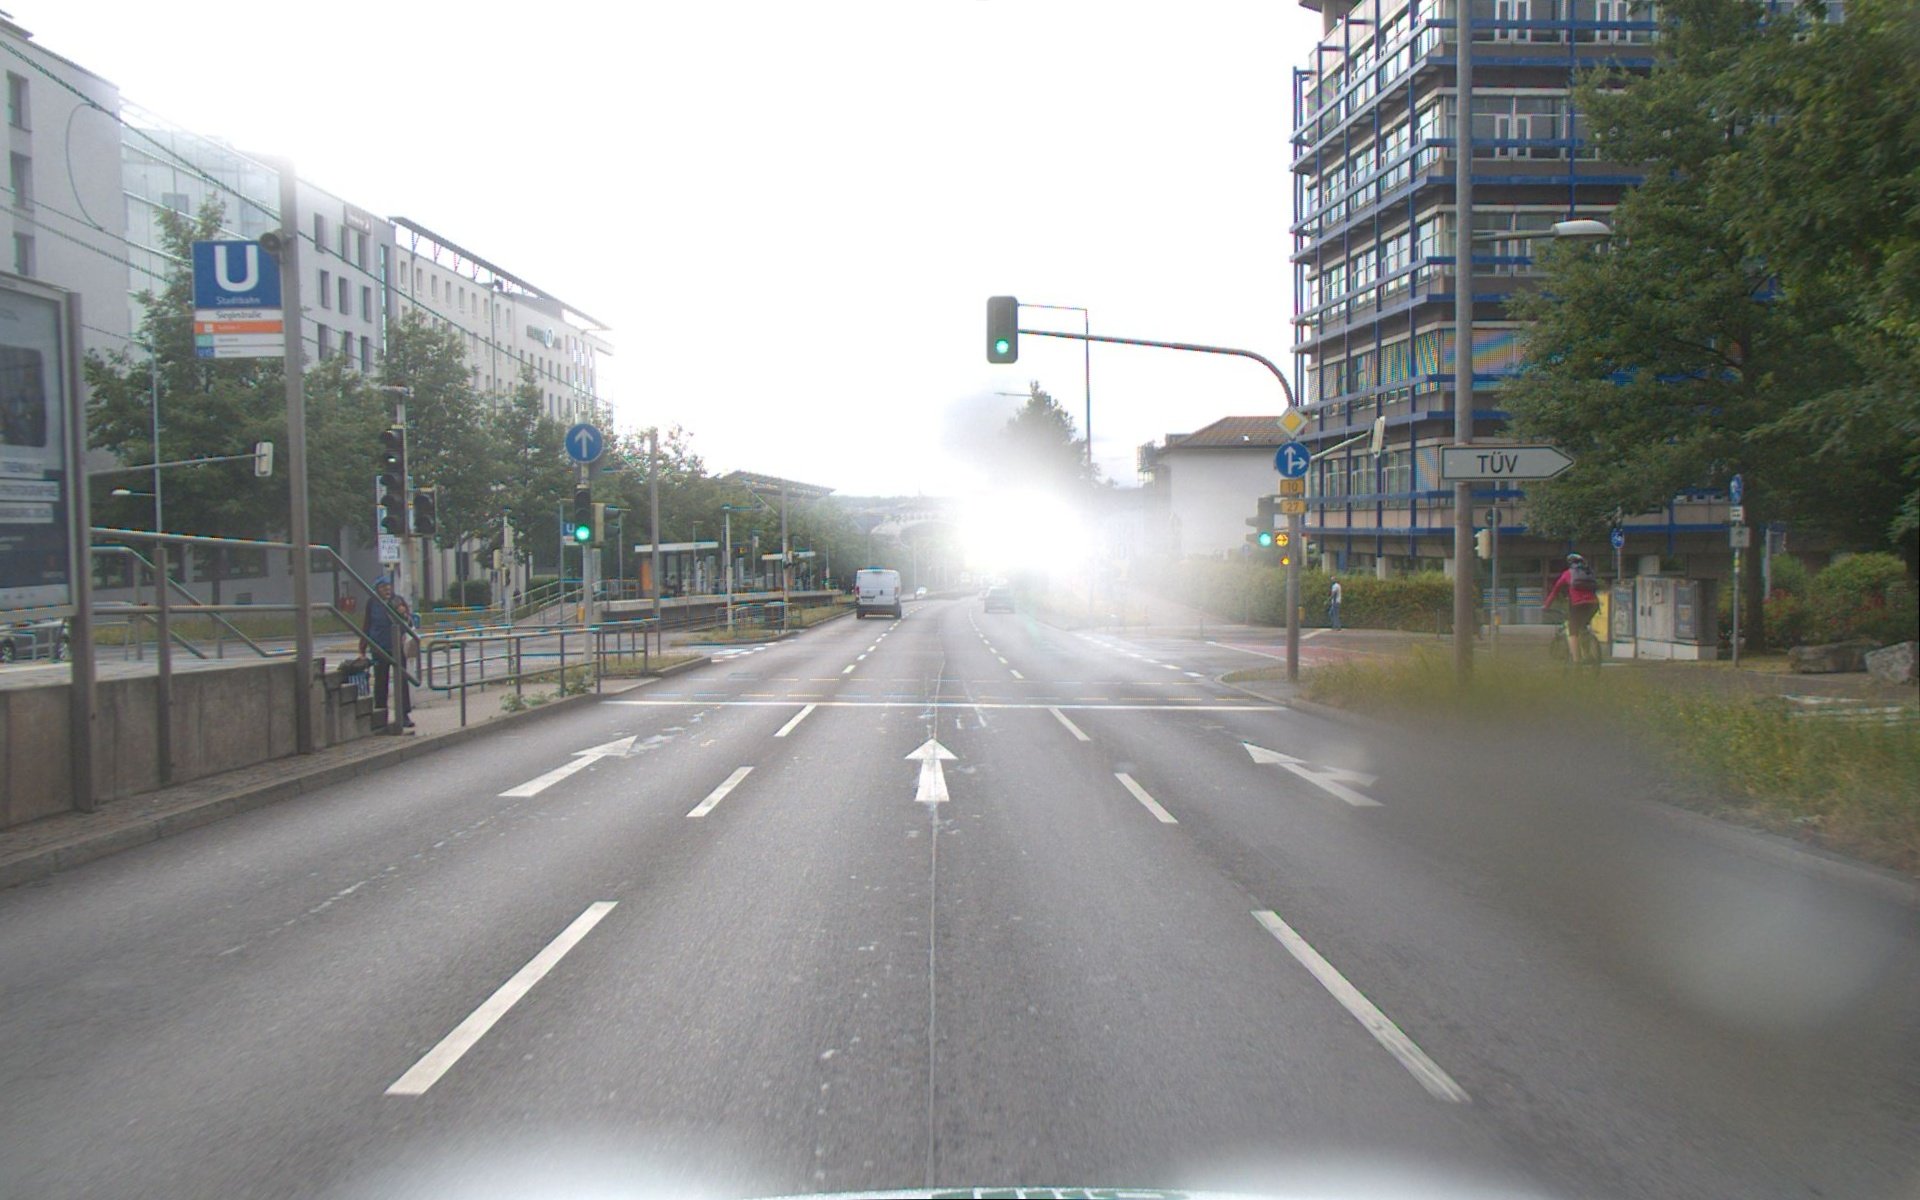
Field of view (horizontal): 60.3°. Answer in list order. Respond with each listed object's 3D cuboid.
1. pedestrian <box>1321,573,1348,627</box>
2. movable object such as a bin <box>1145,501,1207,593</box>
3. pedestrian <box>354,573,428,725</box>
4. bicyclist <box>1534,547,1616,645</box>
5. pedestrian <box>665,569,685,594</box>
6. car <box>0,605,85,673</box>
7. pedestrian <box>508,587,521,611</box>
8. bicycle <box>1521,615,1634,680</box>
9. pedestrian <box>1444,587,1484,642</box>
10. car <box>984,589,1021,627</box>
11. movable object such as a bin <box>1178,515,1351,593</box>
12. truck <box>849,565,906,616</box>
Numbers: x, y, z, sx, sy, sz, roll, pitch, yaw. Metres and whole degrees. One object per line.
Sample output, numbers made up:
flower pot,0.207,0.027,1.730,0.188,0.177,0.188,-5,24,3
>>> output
pedestrian,11.789,-0.002,52.082,0.544,1.681,0.830,-1,0,-10
movable object such as a bin,14.222,-3.408,109.623,3.222,5.784,8.766,1,0,2
pedestrian,-6.439,0.538,18.706,0.693,1.679,0.643,0,1,-30
bicyclist,8.518,-0.056,22.938,0.642,1.310,1.219,2,0,-1
pedestrian,-15.410,-0.986,89.411,0.941,1.322,0.684,-1,0,0
car,-21.769,0.861,37.705,1.693,1.448,3.778,-1,0,-1
pedestrian,-30.234,-0.094,112.280,0.587,1.605,0.835,1,0,2
bicycle,8.508,0.630,22.895,0.654,0.823,2.318,1,0,-1
pedestrian,14.568,0.421,47.797,0.887,1.568,0.796,0,0,38
car,2.403,0.462,93.258,1.952,2.049,3.935,1,0,3
movable object such as a bin,22.189,-3.326,120.998,11.893,5.353,3.789,-1,0,0
truck,-3.874,-0.449,78.569,2.312,2.301,5.306,1,0,1
